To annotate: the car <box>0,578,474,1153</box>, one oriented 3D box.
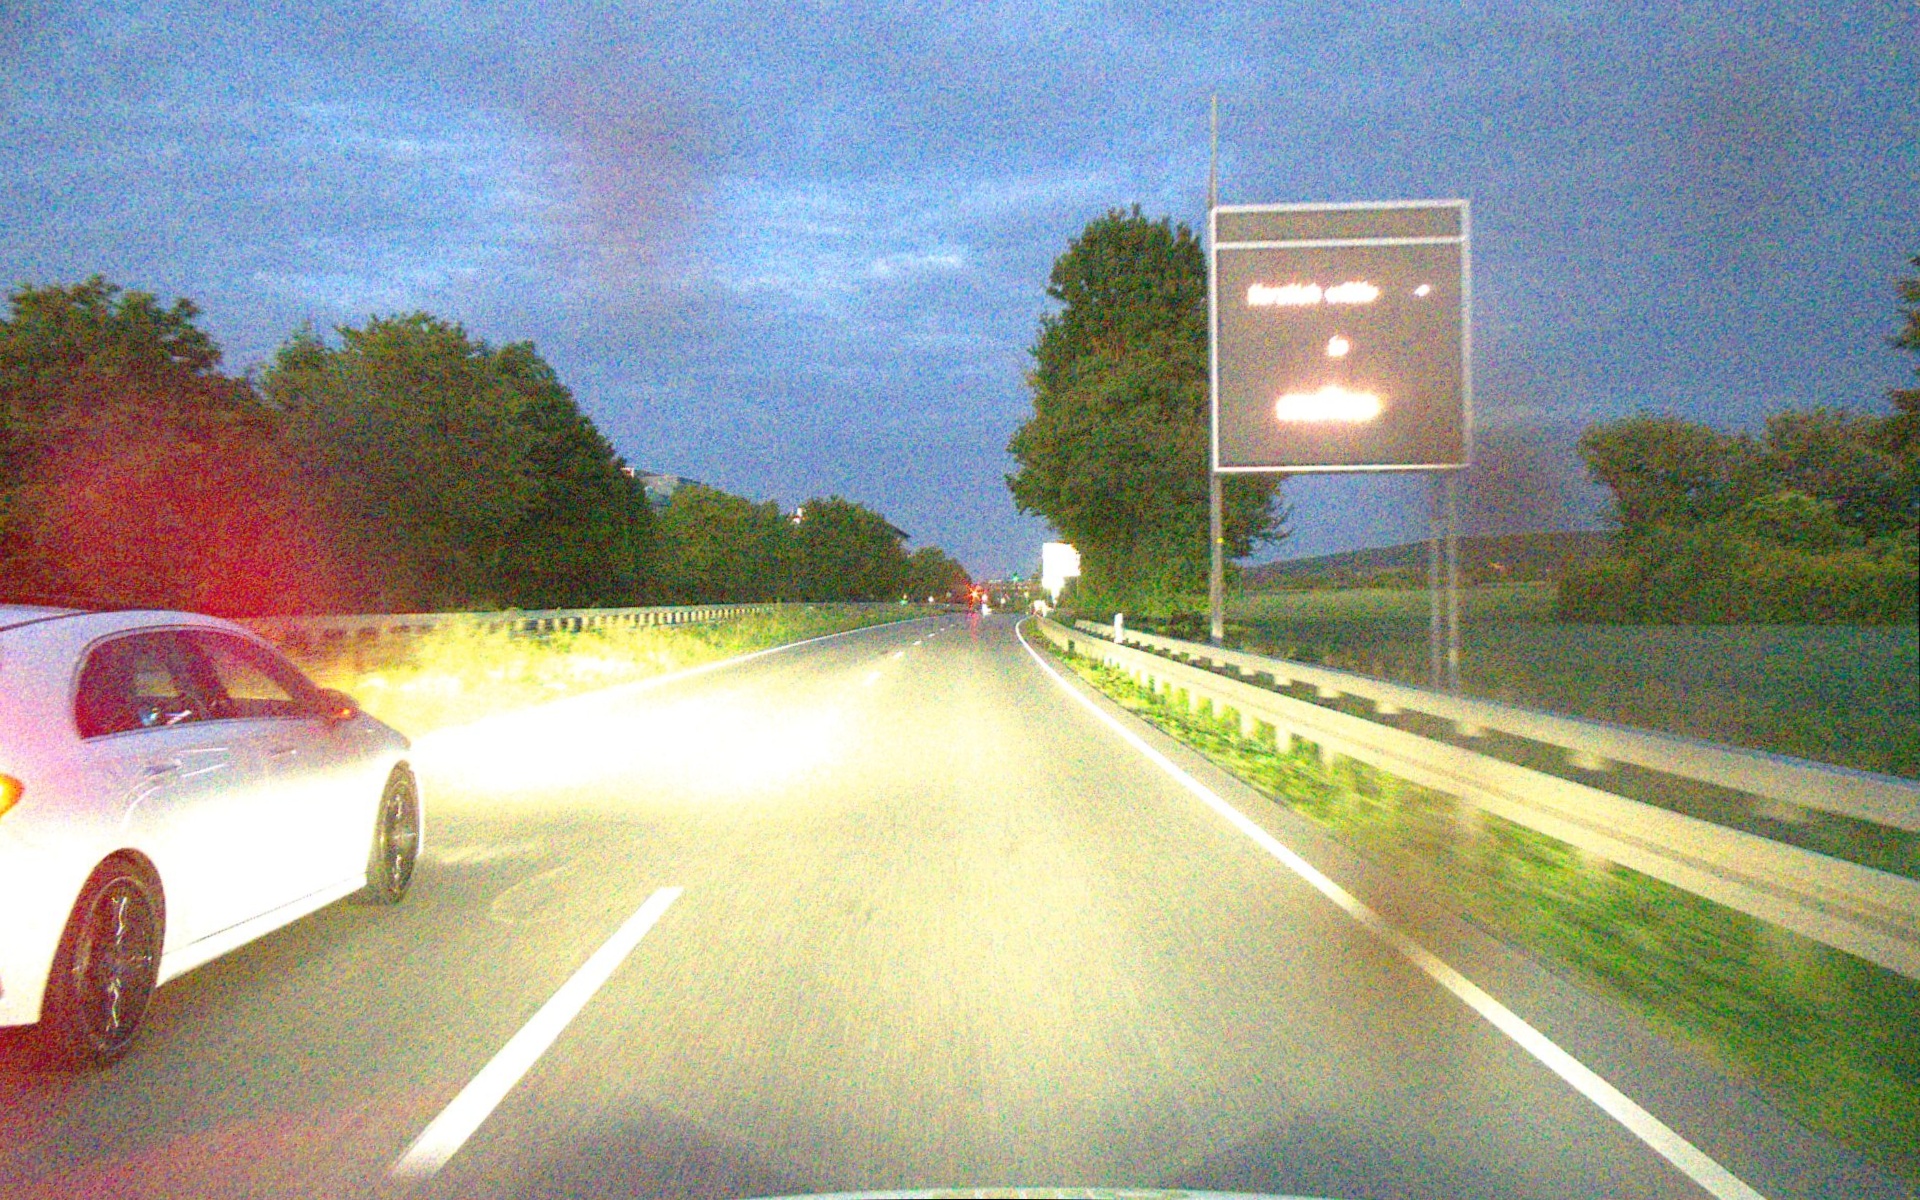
[{"bbox_3d":[-3.360,0.692,6.483,1.608,1.516,4.579,1,0,-1],"label":"car"}]
